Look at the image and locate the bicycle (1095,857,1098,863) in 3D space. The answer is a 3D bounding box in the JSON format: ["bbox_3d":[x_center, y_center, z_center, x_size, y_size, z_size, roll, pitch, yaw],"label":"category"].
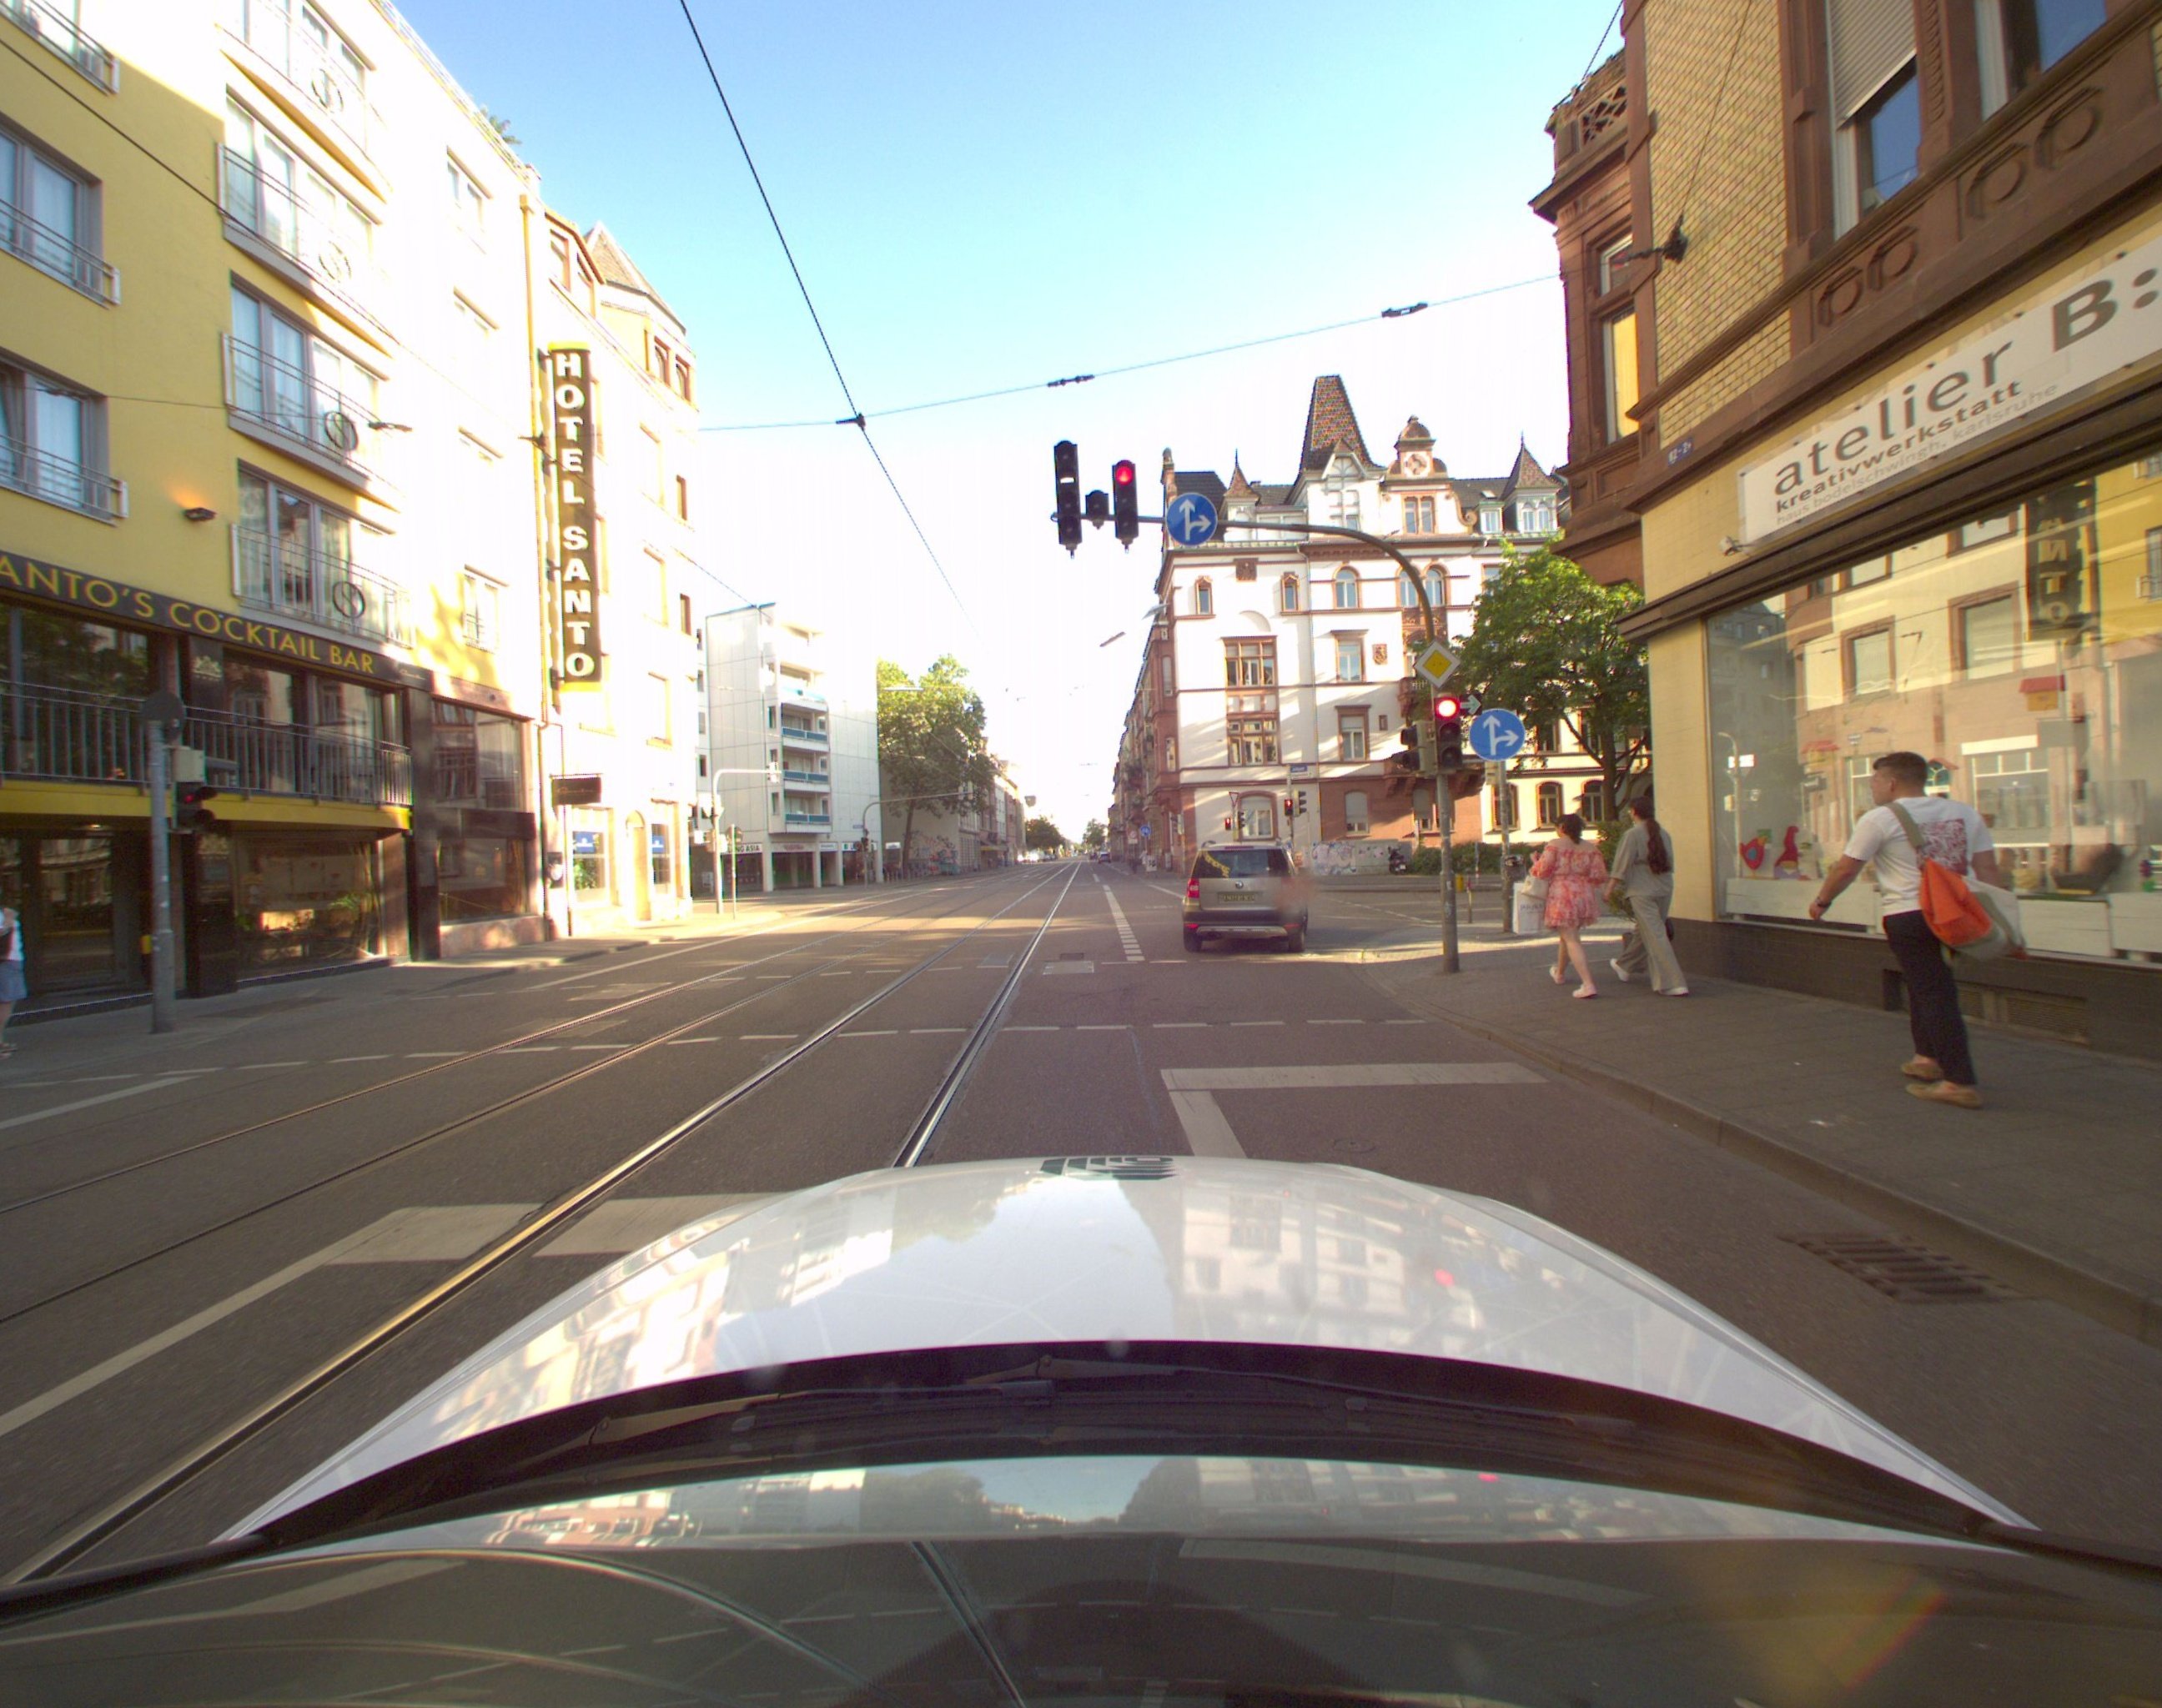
[{"bbox_3d":[2.962,1.189,159.052,0.573,1.030,1.895,-2,0,2],"label":"bicycle"}]

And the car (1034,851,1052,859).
[{"bbox_3d":[-9.873,0.318,211.360,4.006,2.013,1.984,-2,0,-25],"label":"car"}]

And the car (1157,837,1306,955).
[{"bbox_3d":[2.627,0.579,13.400,1.978,1.618,4.017,-1,0,16],"label":"car"}]

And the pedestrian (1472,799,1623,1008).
[{"bbox_3d":[4.385,0.442,7.712,0.803,1.799,0.761,-6,0,-1],"label":"pedestrian"}]

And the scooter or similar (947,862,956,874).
[{"bbox_3d":[-12.237,1.312,76.962,0.515,1.057,1.477,-2,0,-1],"label":"scooter or similar"}]

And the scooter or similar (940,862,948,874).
[{"bbox_3d":[-12.899,1.339,76.924,0.515,1.045,1.477,-2,0,-1],"label":"scooter or similar"}]

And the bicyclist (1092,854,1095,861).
[{"bbox_3d":[3.004,0.847,197.628,0.573,1.679,0.795,-2,0,1],"label":"bicyclist"}]

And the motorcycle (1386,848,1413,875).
[{"bbox_3d":[14.003,0.313,35.883,0.714,1.020,2.295,-2,2,12],"label":"motorcycle"}]

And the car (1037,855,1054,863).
[{"bbox_3d":[-9.834,1.305,225.013,4.006,2.013,1.984,-2,0,-25],"label":"car"}]

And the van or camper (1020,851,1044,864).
[{"bbox_3d":[-10.509,0.749,175.704,4.665,2.563,1.980,-1,-1,-31],"label":"van or camper"}]

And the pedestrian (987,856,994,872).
[{"bbox_3d":[-9.943,1.109,89.359,0.699,1.728,0.647,-2,0,0],"label":"pedestrian"}]

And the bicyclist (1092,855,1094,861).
[{"bbox_3d":[2.751,0.884,185.531,0.573,1.494,0.795,-2,0,1],"label":"bicyclist"}]

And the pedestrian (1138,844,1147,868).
[{"bbox_3d":[4.750,0.150,62.828,0.542,1.780,0.504,-2,0,1],"label":"pedestrian"}]

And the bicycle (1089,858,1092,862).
[{"bbox_3d":[2.295,1.427,190.446,0.573,1.030,1.895,-2,0,2],"label":"bicycle"}]

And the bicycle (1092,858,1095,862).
[{"bbox_3d":[3.039,1.470,197.636,0.573,1.030,1.895,-2,0,2],"label":"bicycle"}]

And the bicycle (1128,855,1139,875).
[{"bbox_3d":[3.632,0.726,56.469,0.650,1.323,2.178,-2,0,3],"label":"bicycle"}]

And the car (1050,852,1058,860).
[{"bbox_3d":[-7.797,0.586,237.448,1.987,2.013,3.999,-2,0,0],"label":"car"}]

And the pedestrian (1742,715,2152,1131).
[{"bbox_3d":[4.369,0.306,4.234,0.803,1.799,1.091,-6,0,-1],"label":"pedestrian"}]

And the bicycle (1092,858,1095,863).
[{"bbox_3d":[2.781,1.439,185.533,0.573,1.030,1.895,-2,0,2],"label":"bicycle"}]

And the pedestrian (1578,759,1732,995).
[{"bbox_3d":[5.026,0.189,7.172,0.689,1.908,0.670,-6,0,-1],"label":"pedestrian"}]

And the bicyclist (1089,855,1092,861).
[{"bbox_3d":[2.270,0.993,190.423,0.573,1.452,0.645,-2,0,1],"label":"bicyclist"}]

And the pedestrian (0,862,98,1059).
[{"bbox_3d":[-10.519,1.008,7.853,0.749,1.818,1.046,2,0,0],"label":"pedestrian"}]

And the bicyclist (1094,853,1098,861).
[{"bbox_3d":[2.936,0.632,159.050,0.573,1.554,0.595,-2,0,1],"label":"bicyclist"}]

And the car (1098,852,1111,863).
[{"bbox_3d":[3.619,0.550,125.823,1.943,1.684,4.001,-2,0,2],"label":"car"}]
